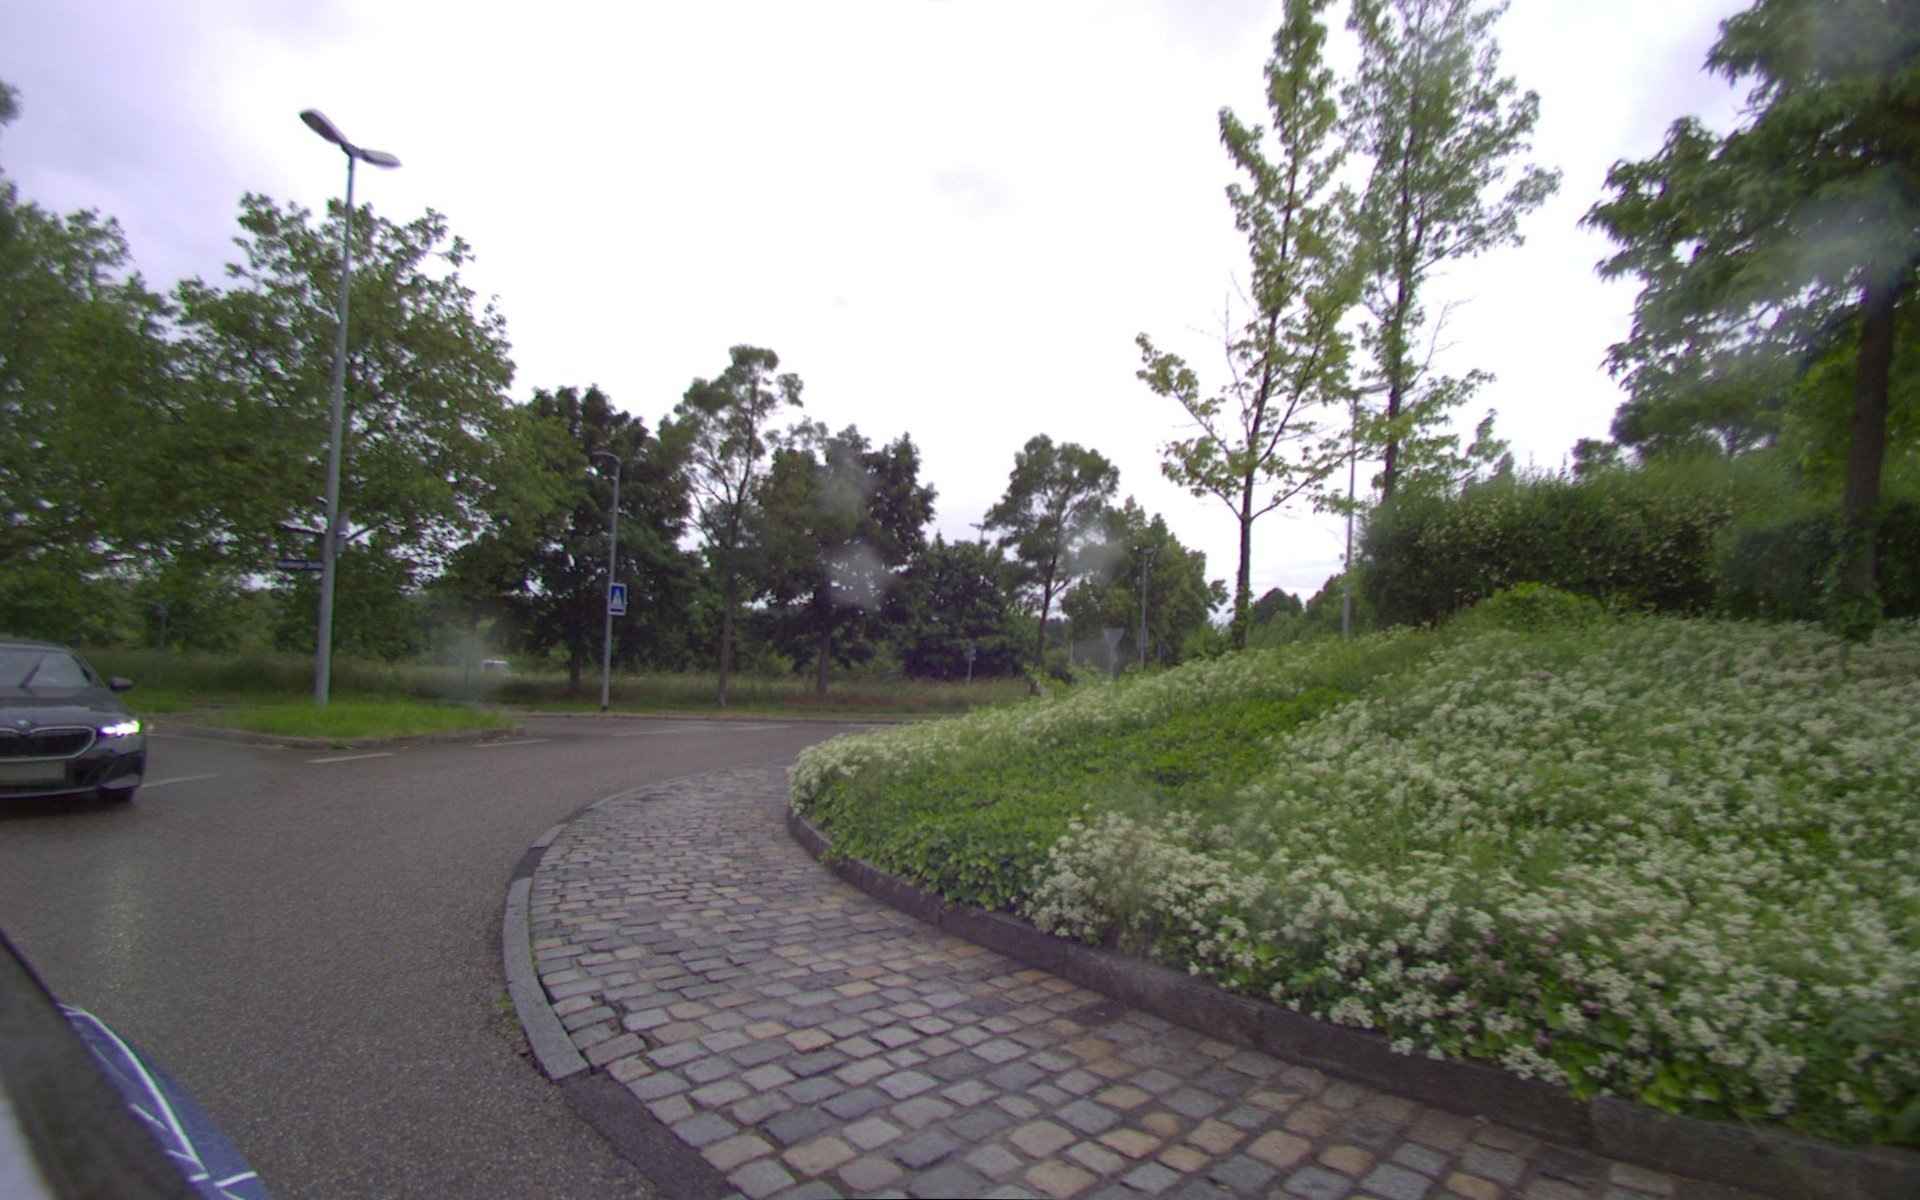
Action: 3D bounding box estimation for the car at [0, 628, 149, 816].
[{"bbox_3d":[-9.442,1.066,9.865,4.903,1.506,1.818,-3,-4,45],"label":"car"}]
